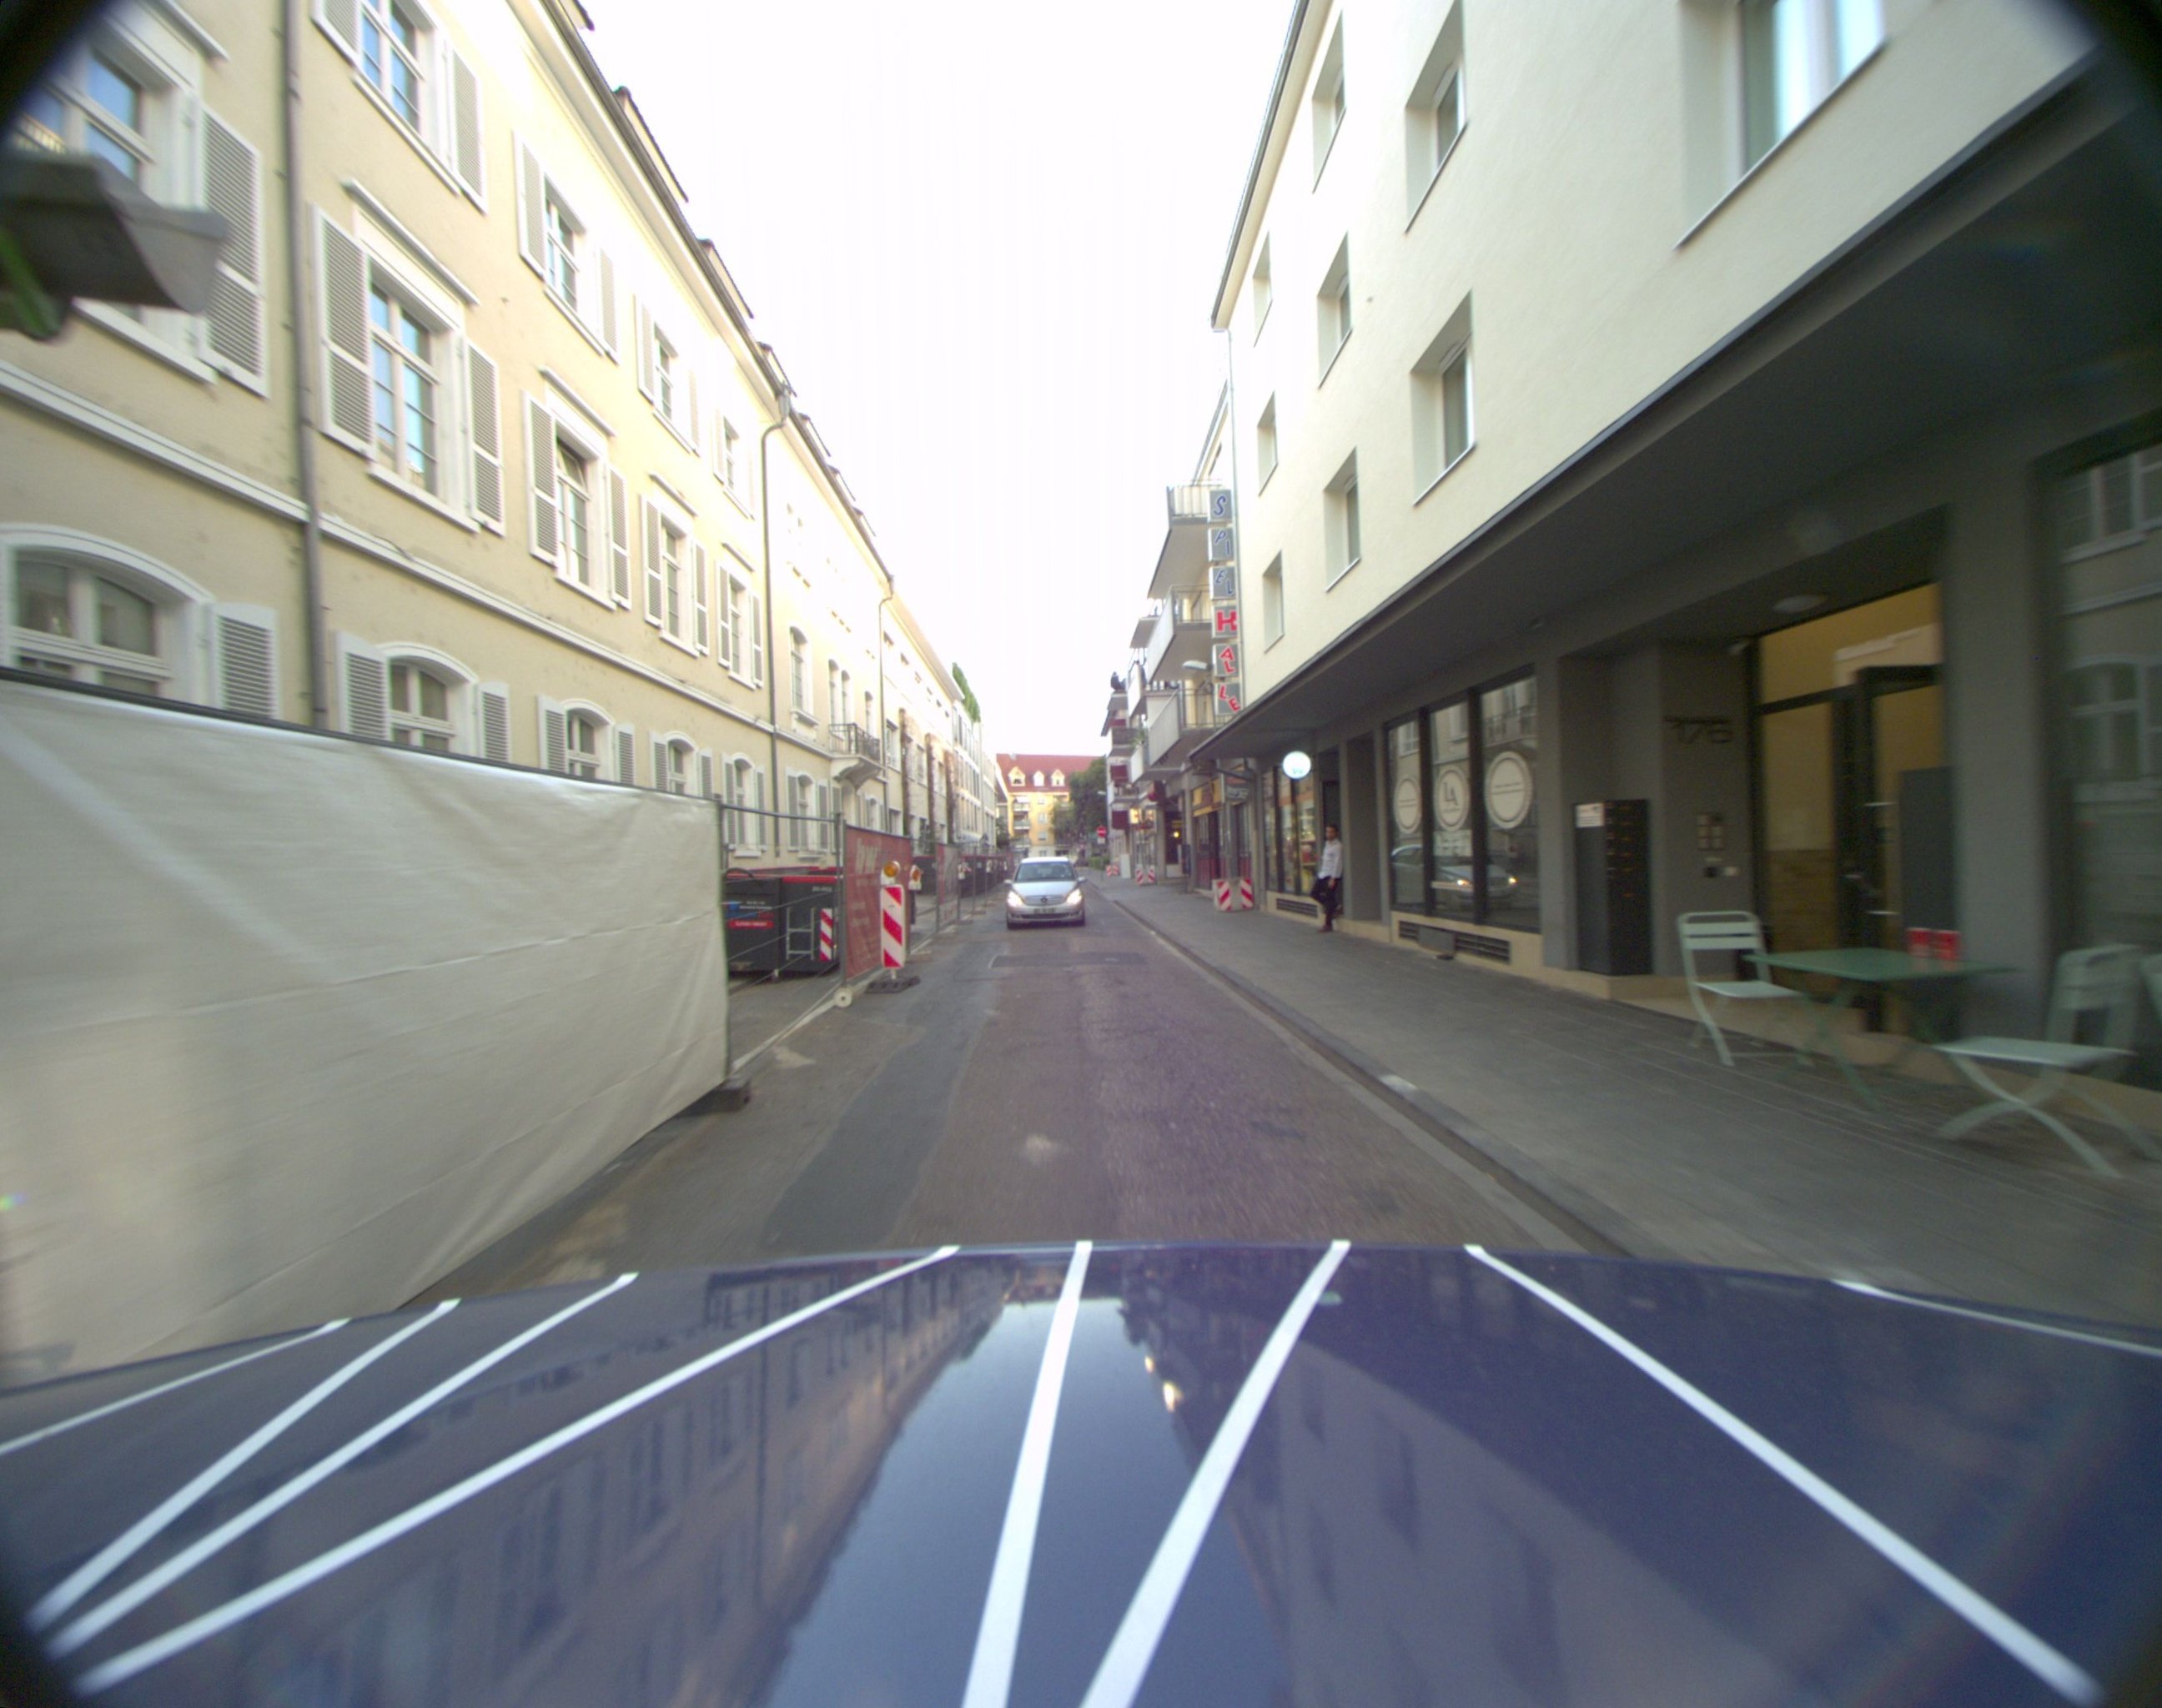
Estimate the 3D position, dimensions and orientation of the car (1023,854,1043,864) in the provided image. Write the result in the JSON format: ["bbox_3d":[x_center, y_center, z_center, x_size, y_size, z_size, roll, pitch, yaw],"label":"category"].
[{"bbox_3d":[-7.286,0.759,114.843,1.749,1.395,4.237,-1,2,-24],"label":"car"}]

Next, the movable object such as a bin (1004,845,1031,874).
[{"bbox_3d":[-6.100,0.533,73.665,2.021,2.608,5.750,-4,0,-1],"label":"movable object such as a bin"}]

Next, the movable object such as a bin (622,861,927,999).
[{"bbox_3d":[-4.799,1.029,13.821,2.743,1.629,7.550,-2,0,-3],"label":"movable object such as a bin"}]

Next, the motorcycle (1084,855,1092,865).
[{"bbox_3d":[0.980,0.827,106.215,0.858,1.345,1.960,-2,0,7],"label":"motorcycle"}]

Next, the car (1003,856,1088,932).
[{"bbox_3d":[-0.833,0.899,18.578,1.804,1.607,4.272,-1,-1,-2],"label":"car"}]

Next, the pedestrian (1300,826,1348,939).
[{"bbox_3d":[4.025,0.460,12.602,0.532,1.824,0.562,-2,0,-8],"label":"pedestrian"}]

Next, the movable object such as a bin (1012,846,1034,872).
[{"bbox_3d":[-6.315,0.547,83.325,2.021,2.608,5.749,-4,0,-1],"label":"movable object such as a bin"}]
